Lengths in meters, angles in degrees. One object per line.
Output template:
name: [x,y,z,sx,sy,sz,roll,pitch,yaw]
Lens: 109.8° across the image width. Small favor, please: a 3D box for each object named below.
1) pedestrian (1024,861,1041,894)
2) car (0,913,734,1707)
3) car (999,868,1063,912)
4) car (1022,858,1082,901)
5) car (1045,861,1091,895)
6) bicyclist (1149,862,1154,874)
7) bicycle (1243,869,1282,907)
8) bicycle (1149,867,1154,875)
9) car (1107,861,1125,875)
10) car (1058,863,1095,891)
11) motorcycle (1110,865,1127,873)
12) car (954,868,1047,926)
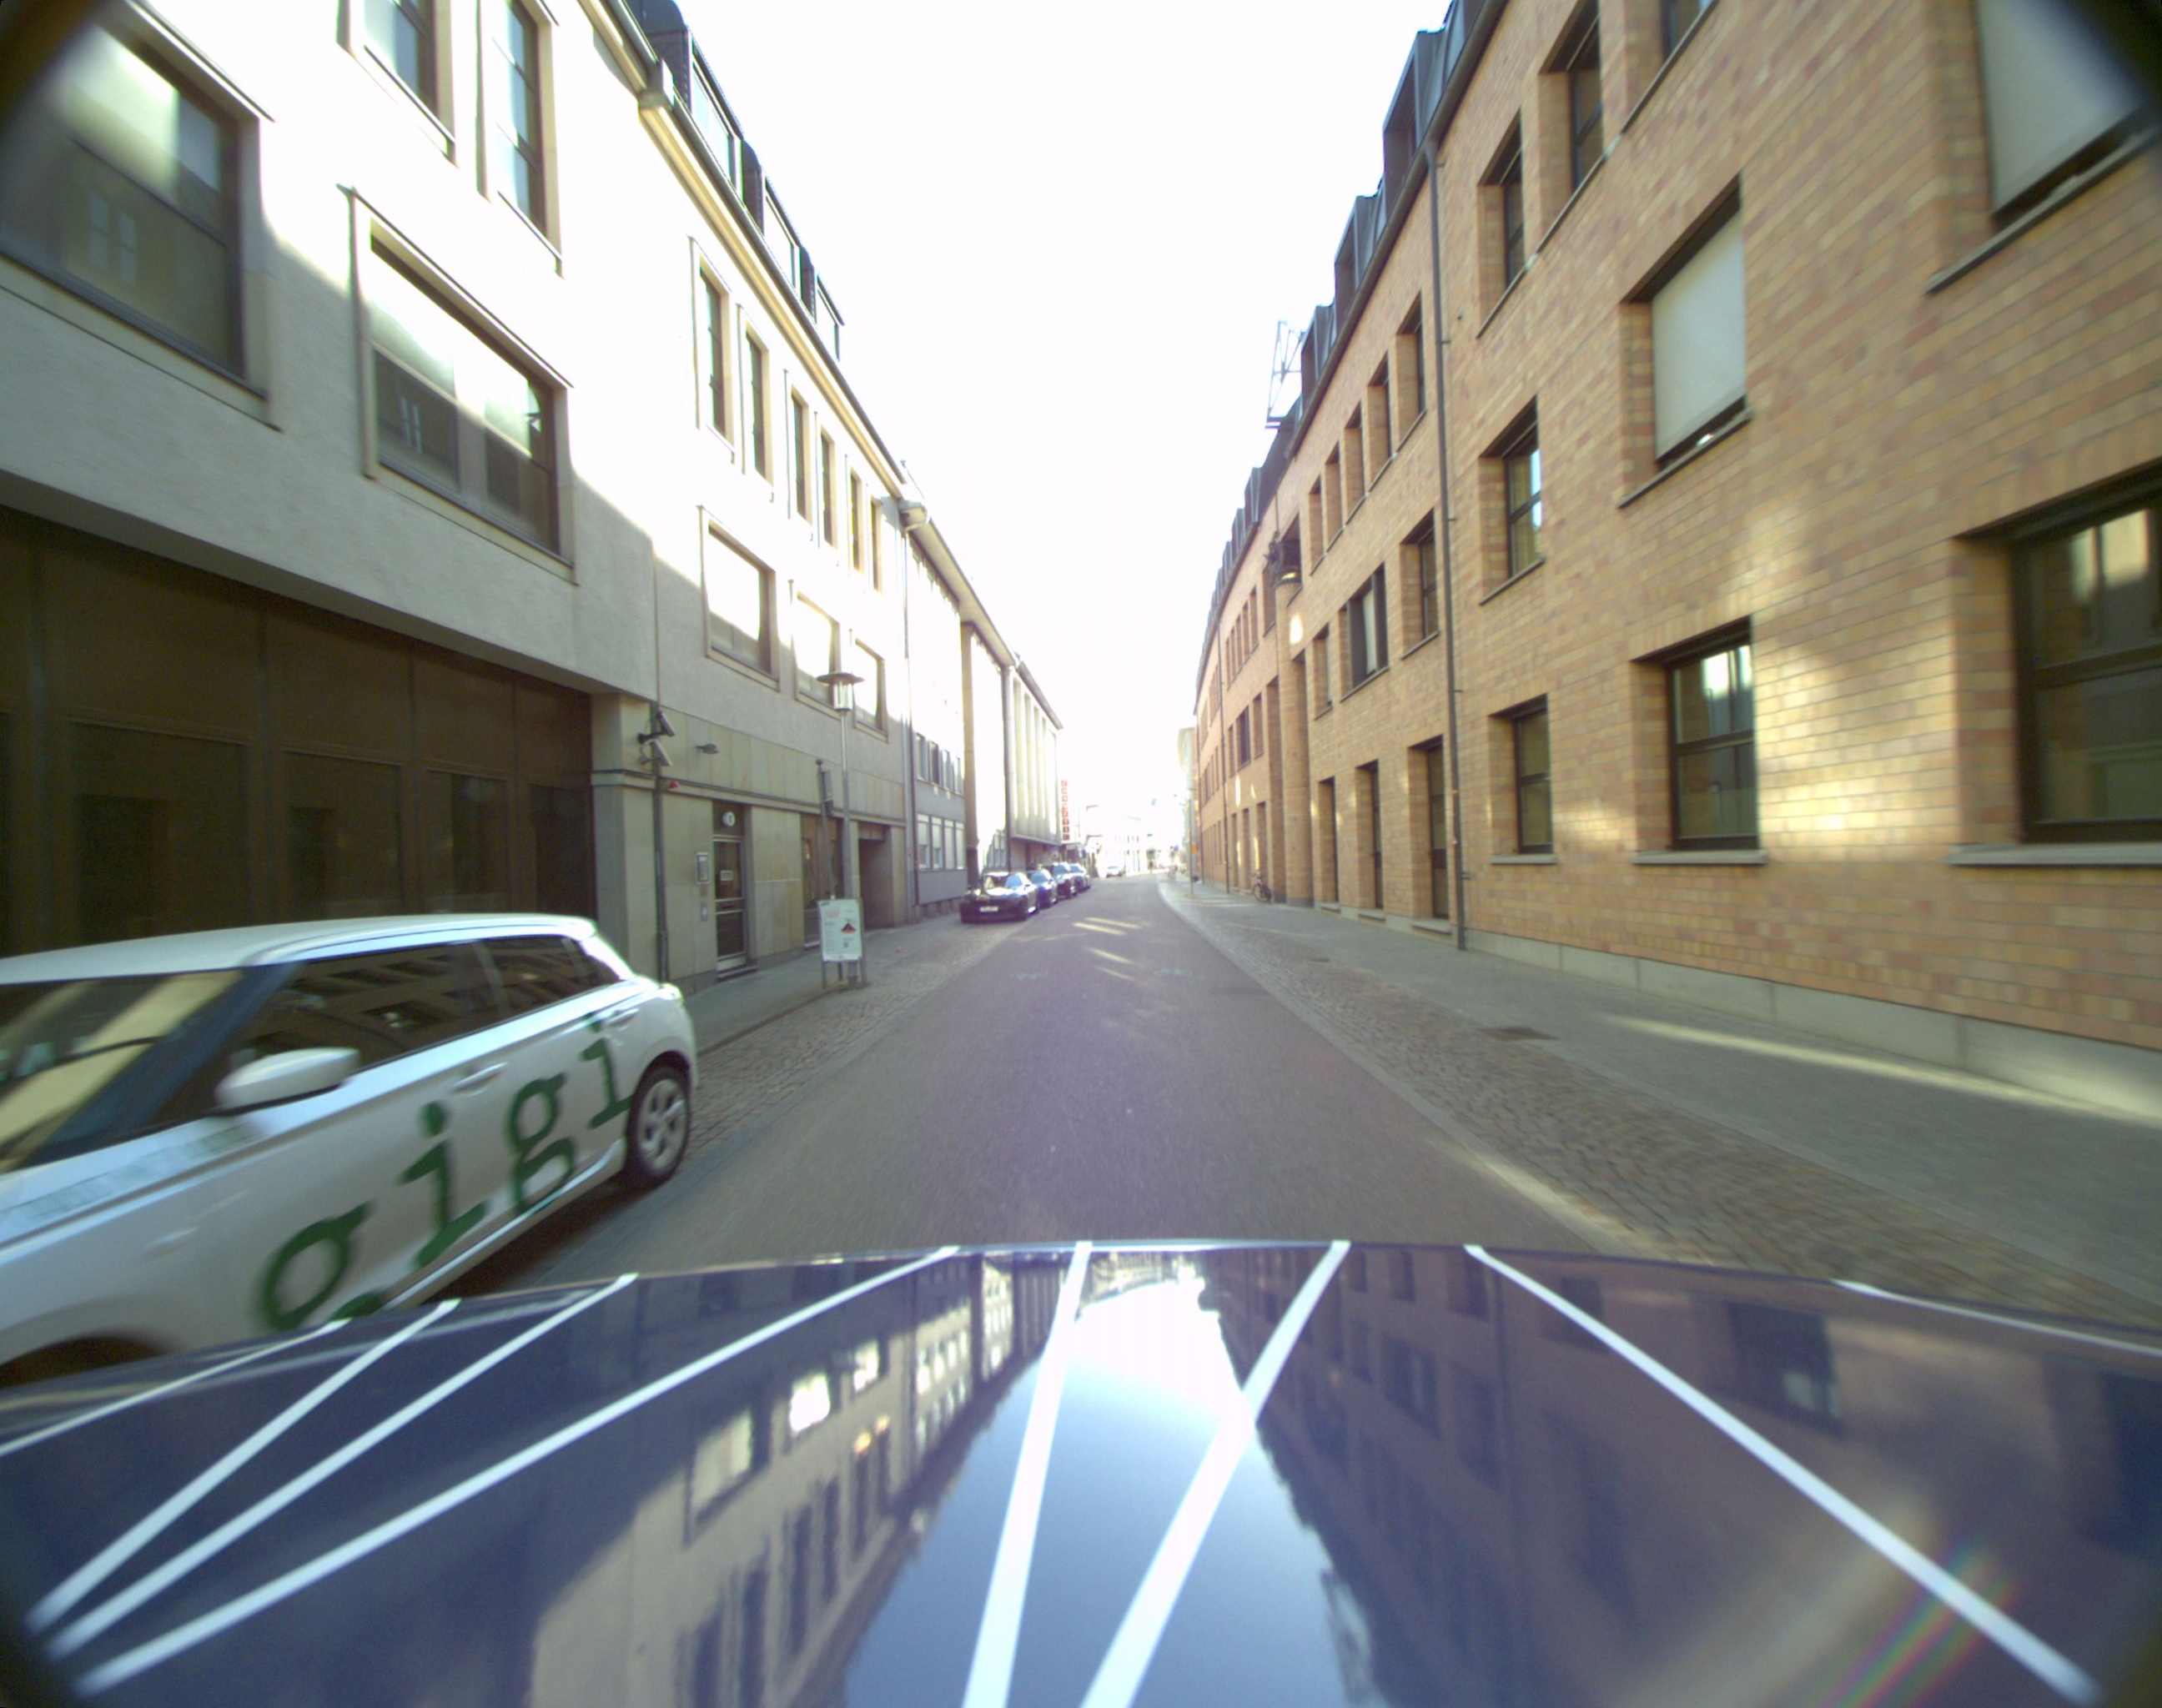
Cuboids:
pedestrian: [-2.501,1.203,39.428,0.790,1.711,0.747,0,0,5]
car: [-3.091,1.144,2.578,1.845,1.469,4.168,-4,0,-1]
car: [-1.847,1.323,29.700,1.811,1.404,4.791,-4,-1,3]
car: [-1.278,1.138,35.859,2.108,1.775,5.054,-3,-1,5]
car: [-0.644,1.318,42.984,1.998,1.692,4.845,-4,-1,5]
bicyclist: [9.465,1.880,101.838,0.663,1.633,0.926,2,1,8]
bicycle: [5.976,1.084,25.056,0.633,1.155,1.803,-5,-1,-5]
bicycle: [9.468,2.279,101.916,0.652,1.125,1.737,2,0,7]
car: [4.114,1.626,88.833,1.846,1.453,4.001,-3,-1,7]
car: [-0.243,1.437,48.644,1.827,1.495,4.602,-5,-1,5]
motorcycle: [4.688,1.907,96.034,1.995,0.950,0.646,-2,0,20]
car: [-2.353,1.235,23.684,1.898,1.444,5.227,-4,-1,4]
